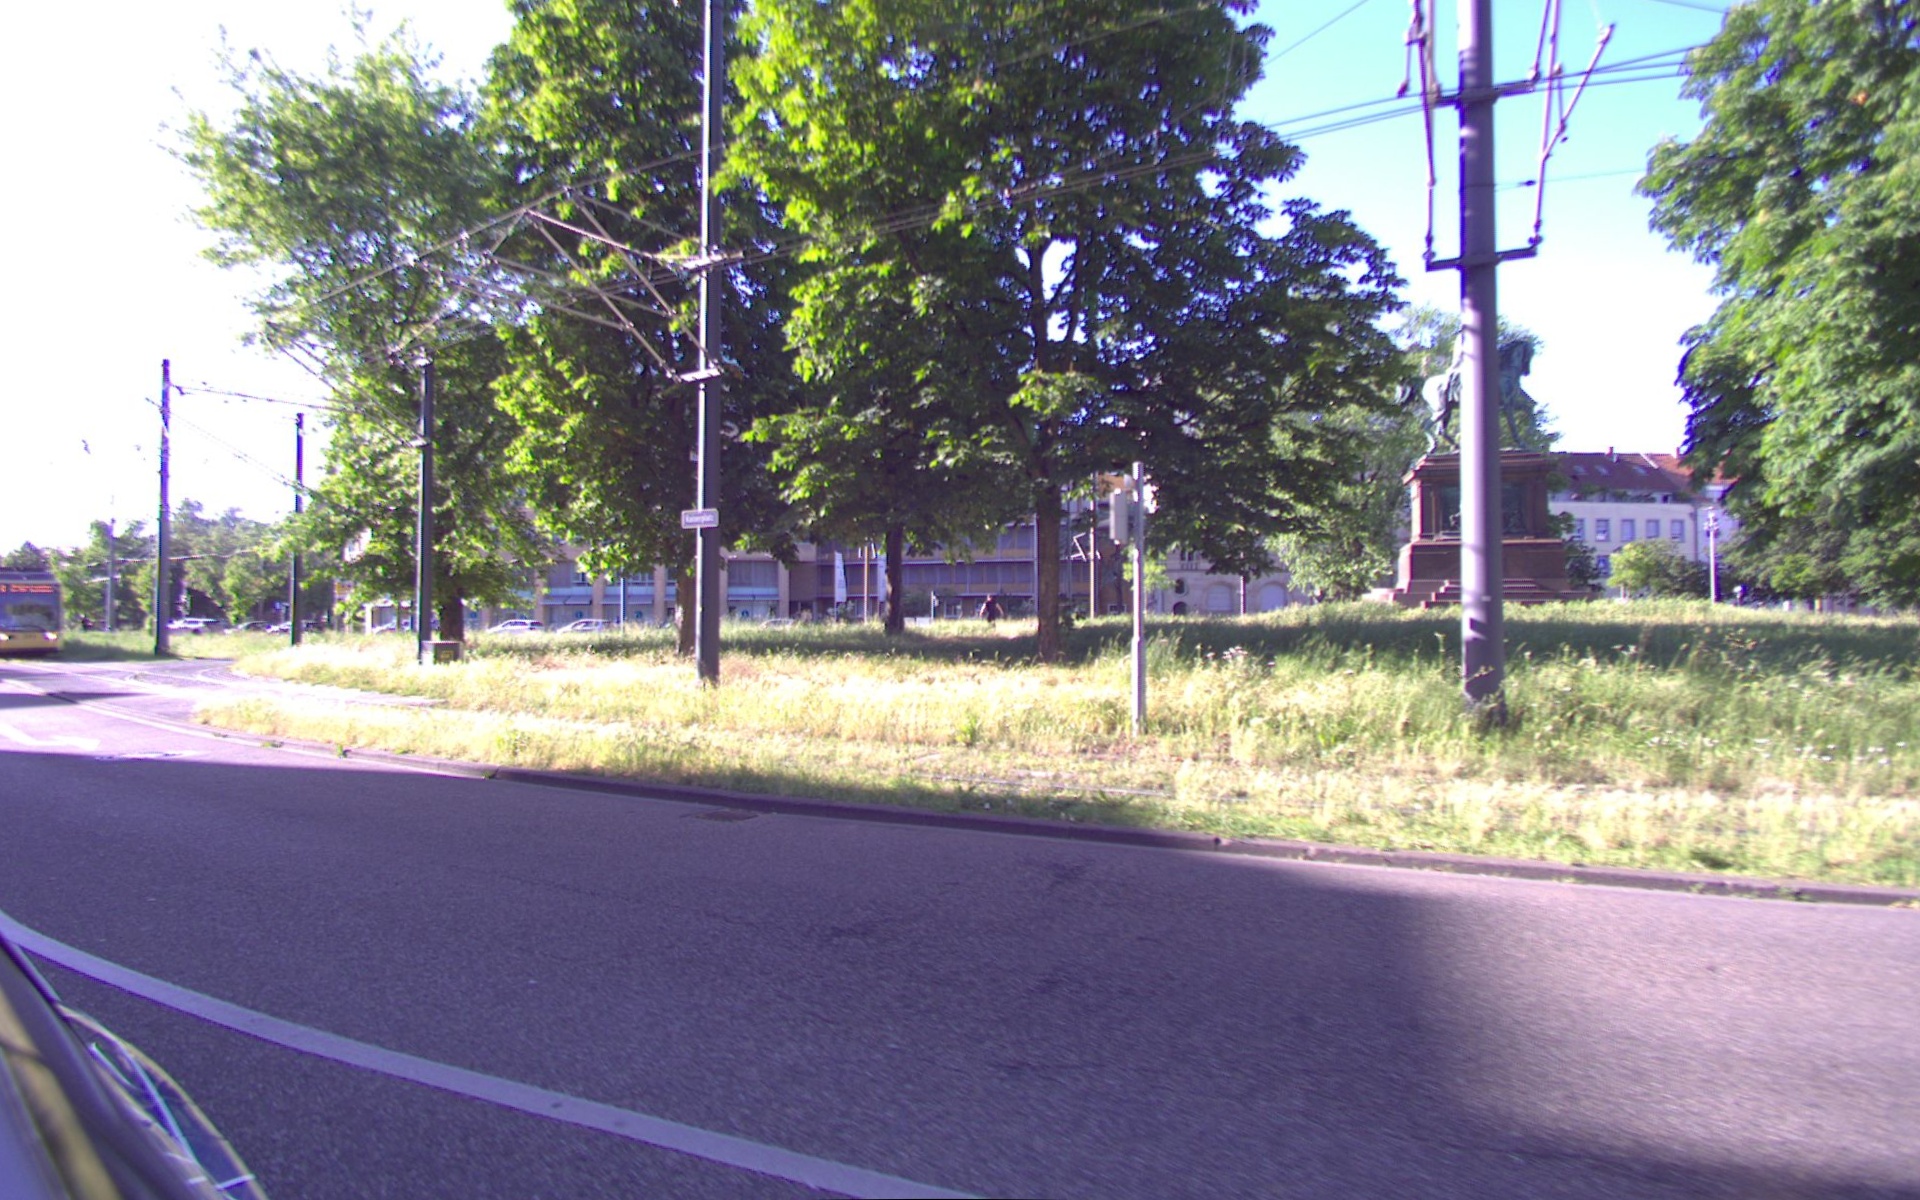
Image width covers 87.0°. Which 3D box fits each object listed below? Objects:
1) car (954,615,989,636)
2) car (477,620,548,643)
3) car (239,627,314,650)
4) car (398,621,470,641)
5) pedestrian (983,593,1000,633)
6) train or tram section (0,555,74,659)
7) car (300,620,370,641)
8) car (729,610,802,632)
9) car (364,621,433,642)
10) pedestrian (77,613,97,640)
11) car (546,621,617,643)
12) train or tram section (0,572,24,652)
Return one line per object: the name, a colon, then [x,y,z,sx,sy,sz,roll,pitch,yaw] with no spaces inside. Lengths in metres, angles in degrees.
car: [0.929,2.101,84.622,1.966,1.593,4.011,-1,1,-14]
car: [-33.258,2.330,75.218,4.611,1.608,1.991,0,1,14]
car: [-54.329,3.084,80.459,5.036,1.747,2.097,-1,-1,14]
car: [-40.086,2.352,77.098,4.978,1.458,1.988,0,1,18]
pedestrian: [1.318,0.534,42.497,0.546,1.628,0.677,0,1,-13]
train or tram section: [-39.034,0.368,41.030,13.176,3.713,2.919,-1,-1,41]
car: [-48.787,2.387,79.039,4.617,1.528,1.991,0,1,14]
car: [-13.737,1.483,71.629,4.709,1.364,1.997,-1,0,6]
car: [-48.473,2.737,87.378,5.162,1.680,2.114,0,1,15]
pedestrian: [-56.383,1.705,65.354,0.740,1.683,0.730,-1,-1,23]
car: [-27.451,2.312,73.499,4.462,1.438,1.993,0,1,11]
train or tram section: [-48.886,0.670,49.608,13.626,3.640,2.919,-1,-1,41]
